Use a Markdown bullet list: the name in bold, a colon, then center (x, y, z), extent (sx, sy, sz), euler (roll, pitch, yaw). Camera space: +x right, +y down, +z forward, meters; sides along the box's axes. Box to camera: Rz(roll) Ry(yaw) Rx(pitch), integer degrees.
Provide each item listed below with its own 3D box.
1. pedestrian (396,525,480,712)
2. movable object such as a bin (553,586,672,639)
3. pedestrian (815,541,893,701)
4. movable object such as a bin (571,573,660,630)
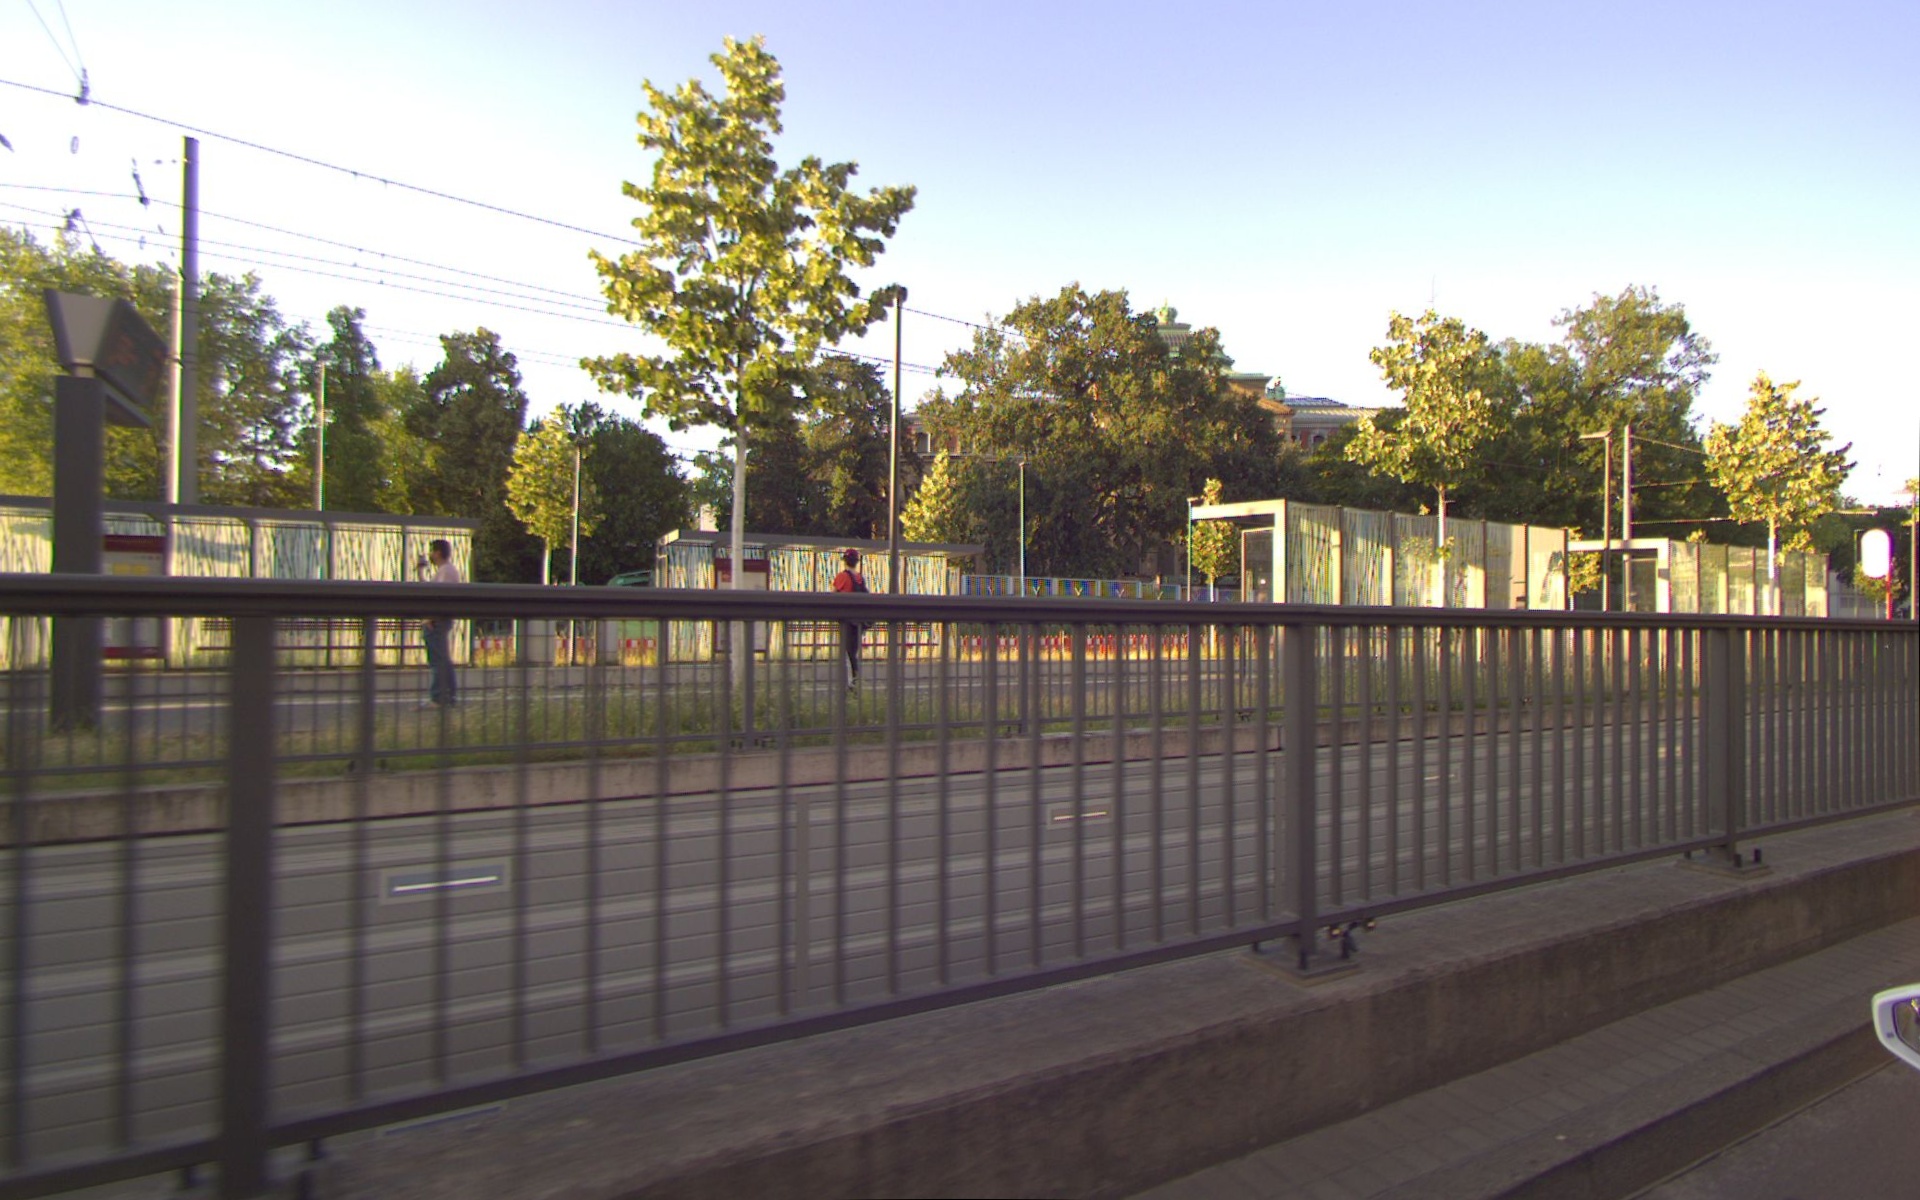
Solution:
- **pedestrian**: center (-5.177, 0.181, 9.963), extent (0.630, 1.768, 0.719), euler (0, 0, -37)
- **movable object such as a bin**: center (-15.821, 0.612, 45.790), extent (4.877, 2.276, 1.986), euler (1, -1, -28)
- **pedestrian**: center (-1.208, 0.239, 11.438), extent (0.631, 1.752, 0.628), euler (1, -1, -42)
- **movable object such as a bin**: center (-17.138, 0.111, 49.980), extent (3.949, 2.742, 1.986), euler (1, -1, -28)
